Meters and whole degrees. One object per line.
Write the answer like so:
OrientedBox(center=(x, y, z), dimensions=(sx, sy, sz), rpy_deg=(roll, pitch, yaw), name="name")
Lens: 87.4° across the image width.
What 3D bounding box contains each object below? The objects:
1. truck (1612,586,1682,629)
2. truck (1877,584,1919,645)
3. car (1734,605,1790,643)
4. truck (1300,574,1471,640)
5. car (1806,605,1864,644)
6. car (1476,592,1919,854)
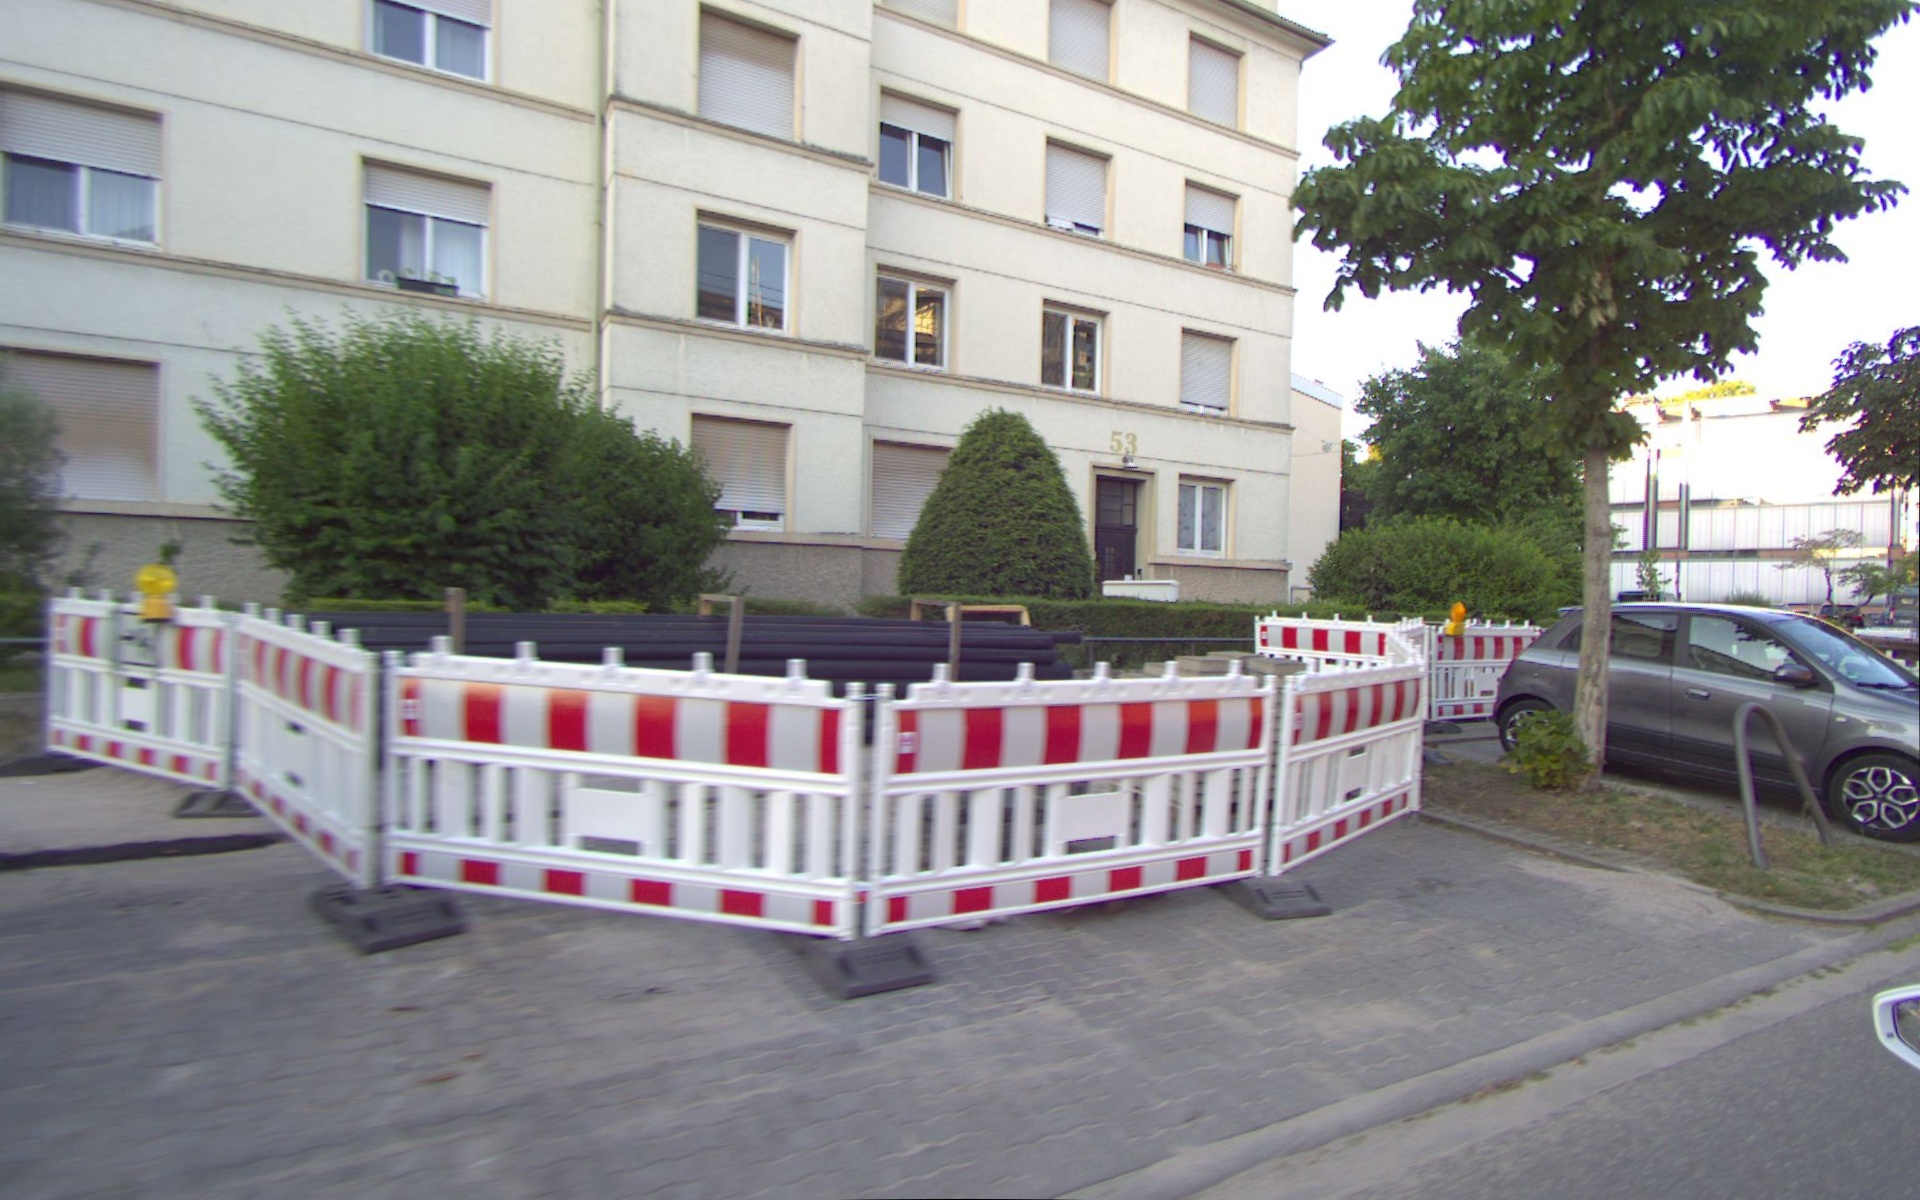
OrientedBox(center=(35.020, 0.398, 51.147), dimensions=(4.482, 2.118, 2.085), rpy_deg=(1, 0, -44), name="truck")
OrientedBox(center=(42.858, 0.642, 45.163), dimensions=(2.309, 2.652, 4.943), rpy_deg=(1, 0, 43), name="truck")
OrientedBox(center=(38.828, 1.132, 48.613), dimensions=(1.970, 1.750, 4.279), rpy_deg=(1, 0, 41), name="car")
OrientedBox(center=(16.961, 0.208, 40.249), dimensions=(5.952, 2.455, 2.099), rpy_deg=(1, 1, 39), name="truck")
OrientedBox(center=(40.917, 1.114, 47.040), dimensions=(1.970, 1.715, 3.980), rpy_deg=(1, 0, 41), name="car")
OrientedBox(center=(6.498, 0.843, 8.292), dimensions=(1.673, 1.578, 3.606), rpy_deg=(1, 3, -29), name="car")
